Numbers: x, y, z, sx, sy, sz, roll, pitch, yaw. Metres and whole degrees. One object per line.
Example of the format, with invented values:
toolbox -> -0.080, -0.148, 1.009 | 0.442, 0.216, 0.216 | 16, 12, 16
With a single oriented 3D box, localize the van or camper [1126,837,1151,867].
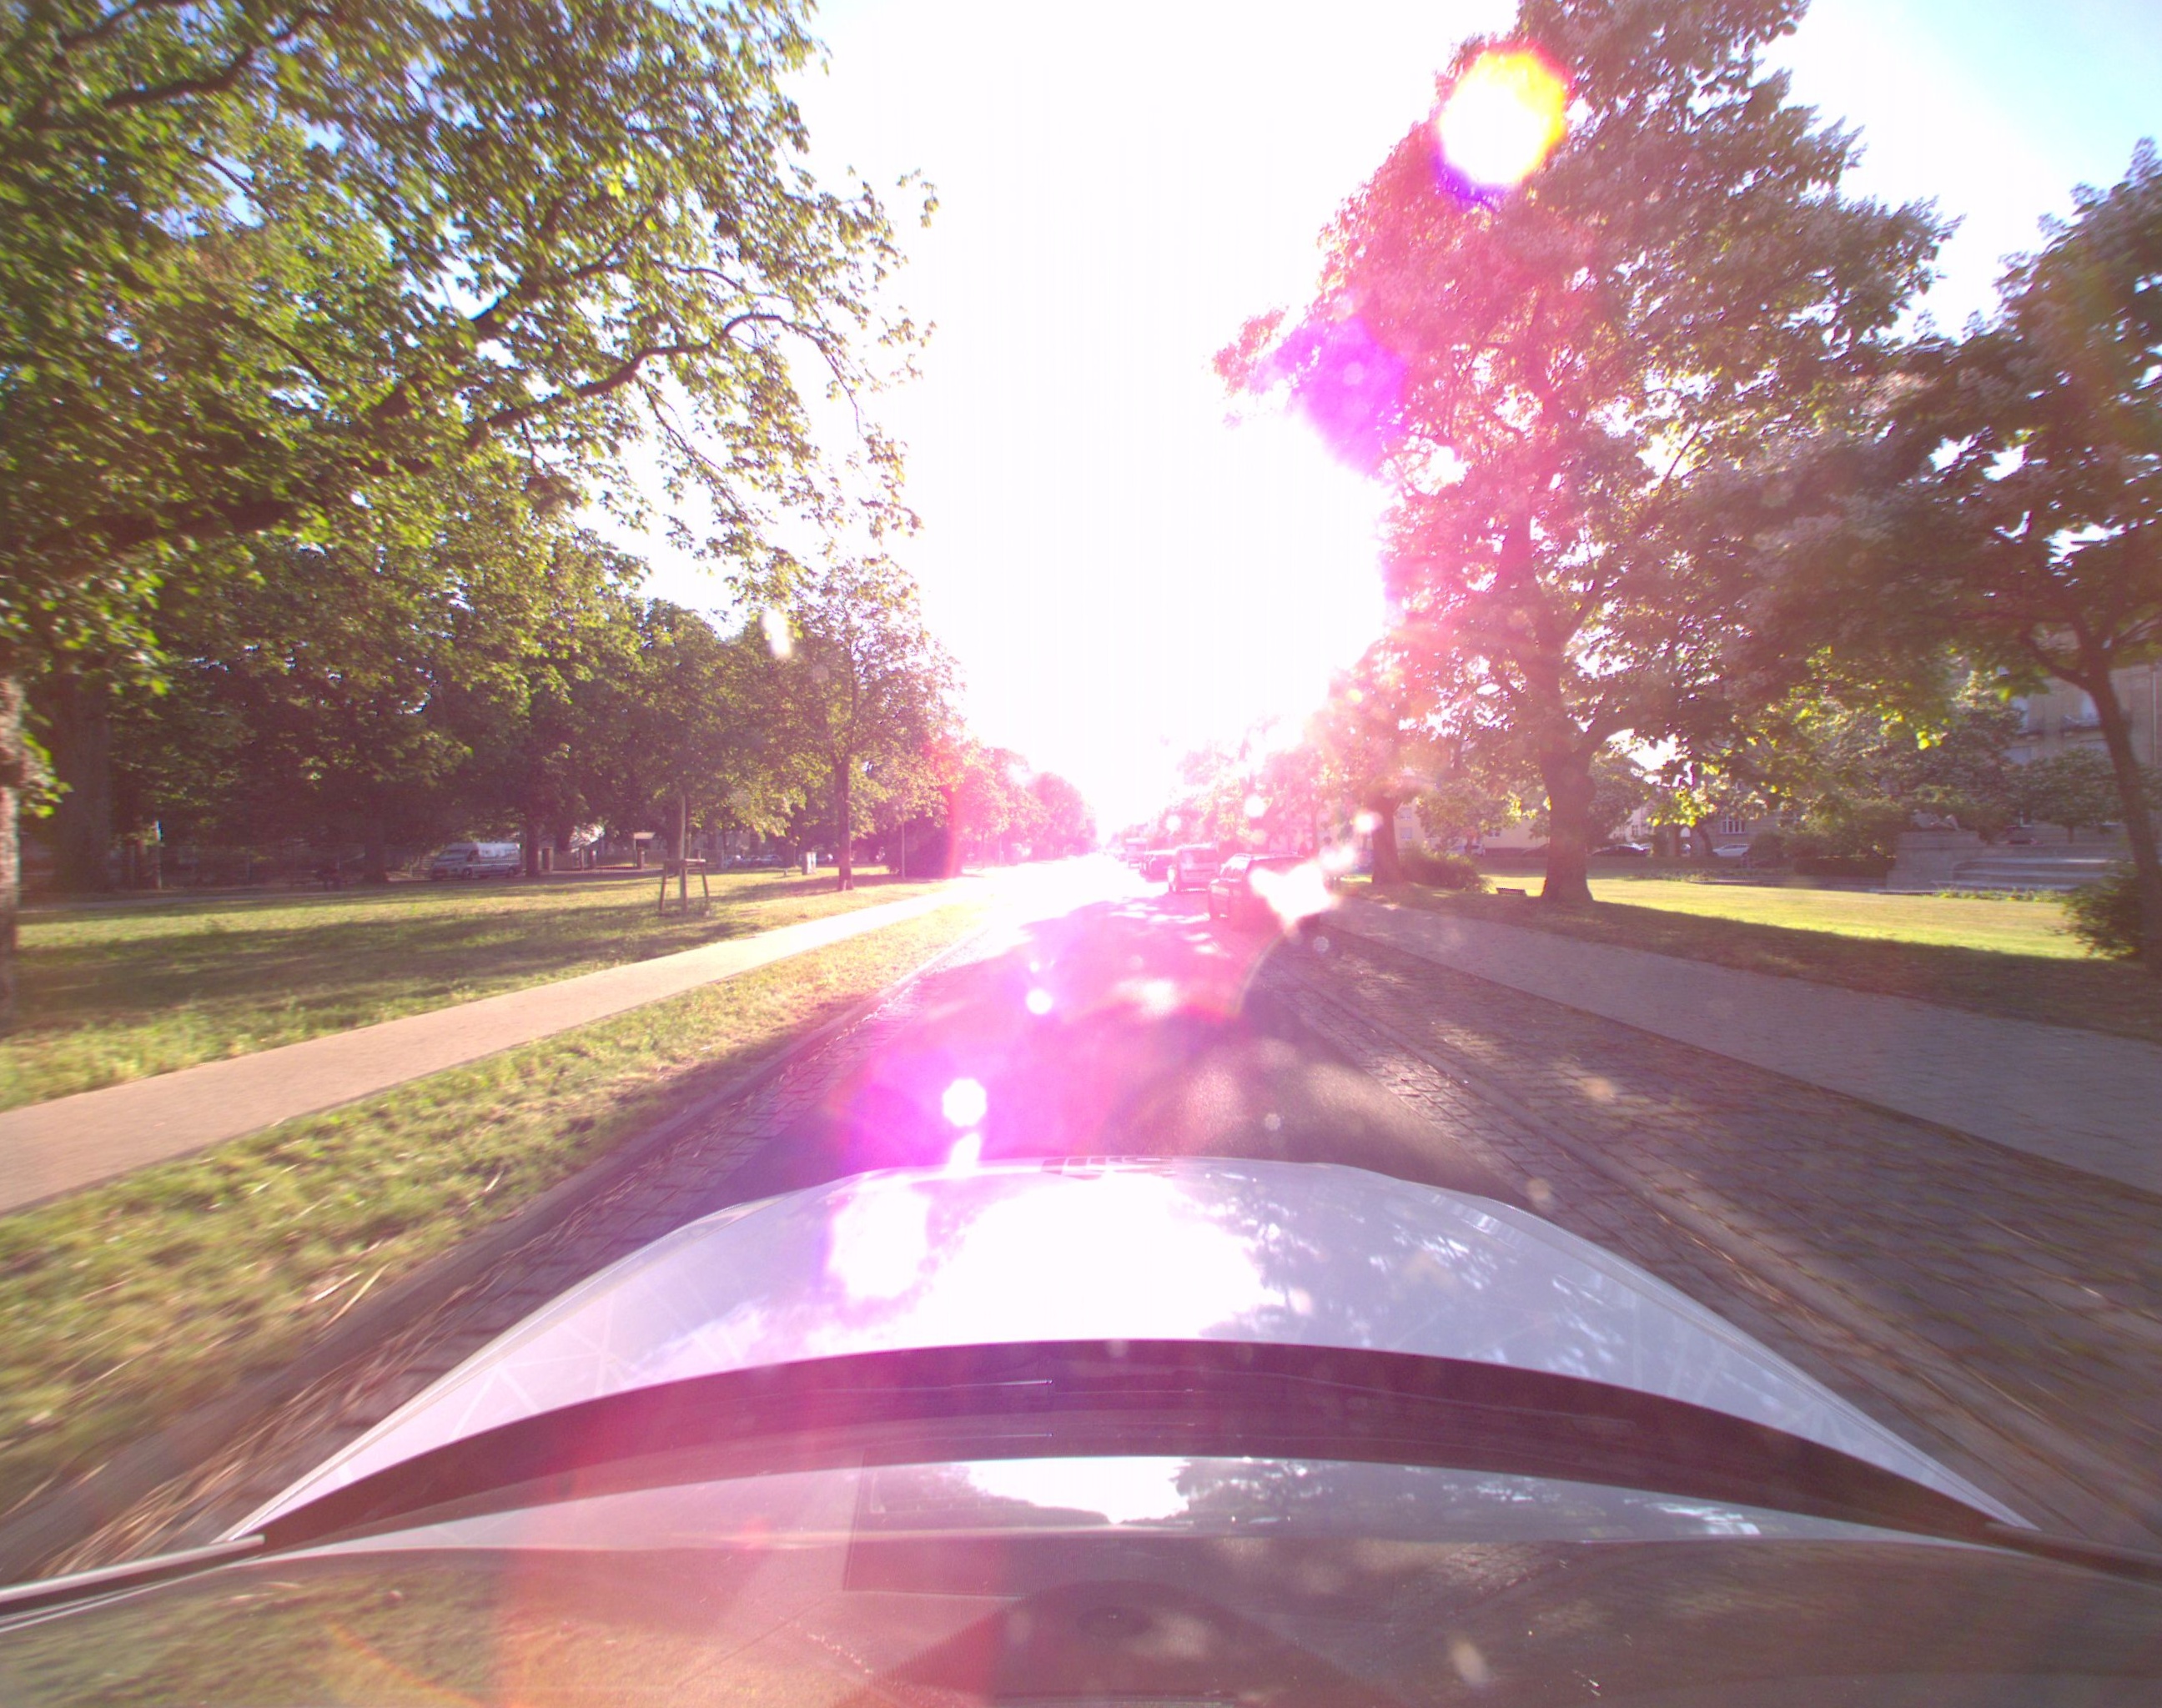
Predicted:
van or camper -> 5.893, -0.165, 84.236 | 2.226, 2.904, 5.674 | -1, -1, 1

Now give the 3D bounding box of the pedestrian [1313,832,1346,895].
pedestrian -> 6.894, 0.254, 22.655 | 0.722, 1.736, 0.732 | 0, 0, 2

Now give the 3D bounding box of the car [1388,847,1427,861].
car -> 37.247, 0.013, 92.907 | 3.949, 1.552, 1.620 | -1, -1, 29

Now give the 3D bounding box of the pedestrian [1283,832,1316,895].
pedestrian -> 6.075, 0.257, 22.648 | 0.750, 1.736, 0.732 | 0, 0, 2

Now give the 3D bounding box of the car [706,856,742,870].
car -> -39.394, 0.972, 89.926 | 1.986, 1.508, 4.002 | -1, 0, 2

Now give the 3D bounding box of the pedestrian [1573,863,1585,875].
pedestrian -> 35.298, 1.054, 57.704 | 0.671, 0.794, 0.580 | -1, -1, -41

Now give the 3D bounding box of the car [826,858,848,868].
car -> -38.259, 1.432, 127.779 | 1.986, 1.508, 4.118 | -1, 0, 2

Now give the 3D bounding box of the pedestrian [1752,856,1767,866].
pedestrian -> 51.777, 0.543, 62.155 | 0.585, 0.794, 0.665 | -1, -1, -10

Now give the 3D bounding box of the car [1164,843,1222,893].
car -> 4.235, 0.522, 31.252 | 1.672, 1.740, 4.515 | -1, 0, 1

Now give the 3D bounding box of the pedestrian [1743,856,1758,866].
pedestrian -> 51.685, 0.528, 62.889 | 0.585, 0.794, 0.665 | -1, -1, -10

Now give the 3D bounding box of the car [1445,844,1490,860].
car -> 45.140, -0.265, 95.073 | 4.467, 1.746, 1.892 | -1, -1, 36

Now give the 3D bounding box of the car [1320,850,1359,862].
car -> 30.572, 0.260, 96.274 | 4.158, 1.357, 1.702 | -1, 0, 22

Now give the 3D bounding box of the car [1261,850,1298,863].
car -> 23.953, 0.312, 98.303 | 4.162, 1.463, 1.700 | -1, 0, 17

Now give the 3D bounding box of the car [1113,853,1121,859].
car -> 7.937, 0.444, 179.127 | 1.620, 1.410, 4.250 | -1, 0, 1

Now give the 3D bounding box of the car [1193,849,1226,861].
car -> 16.692, 0.132, 105.902 | 4.174, 1.530, 2.003 | -1, 0, 5

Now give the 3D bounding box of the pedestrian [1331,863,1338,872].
pedestrian -> 23.458, 1.210, 75.333 | 0.470, 0.812, 0.612 | 0, 0, 3

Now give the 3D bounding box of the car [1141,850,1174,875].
car -> 4.911, 0.554, 52.923 | 1.726, 1.551, 4.422 | -1, 0, 0

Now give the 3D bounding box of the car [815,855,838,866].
car -> -38.020, 0.965, 121.779 | 1.986, 1.508, 4.118 | -1, 0, 2

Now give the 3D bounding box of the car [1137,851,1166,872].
car -> 5.089, 0.559, 59.507 | 1.622, 1.464, 4.246 | -1, 0, -2

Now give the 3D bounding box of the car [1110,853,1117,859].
car -> 9.031, 0.548, 226.990 | 1.620, 1.410, 4.250 | -1, 0, 1

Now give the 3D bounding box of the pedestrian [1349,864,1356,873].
pedestrian -> 25.143, 1.334, 75.433 | 0.470, 0.812, 0.612 | 0, 0, 3

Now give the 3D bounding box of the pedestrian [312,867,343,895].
pedestrian -> -27.023, 0.969, 29.200 | 0.544, 0.987, 0.612 | -1, -1, 12

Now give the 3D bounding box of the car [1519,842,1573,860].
car -> 48.349, -0.319, 84.700 | 1.891, 1.746, 4.470 | -1, -1, -45

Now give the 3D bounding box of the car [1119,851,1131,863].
car -> 6.792, 0.467, 125.520 | 1.620, 1.669, 4.250 | -1, 0, 1

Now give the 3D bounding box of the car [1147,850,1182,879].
car -> 4.760, 0.588, 46.670 | 1.725, 1.551, 4.278 | -1, 0, 3

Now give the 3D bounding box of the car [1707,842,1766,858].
car -> 62.406, -0.395, 77.615 | 1.886, 1.453, 3.962 | -1, 0, -29

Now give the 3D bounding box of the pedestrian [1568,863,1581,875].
pedestrian -> 34.638, 1.066, 57.141 | 0.671, 0.794, 0.580 | -1, -1, -41

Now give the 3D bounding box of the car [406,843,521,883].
car -> -40.657, 0.580, 53.922 | 2.711, 2.463, 6.318 | -1, 0, 0

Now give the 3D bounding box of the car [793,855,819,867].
car -> -37.988, 0.970, 112.578 | 1.986, 1.508, 4.118 | -1, 0, 2

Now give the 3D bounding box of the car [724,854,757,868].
car -> -39.610, 0.817, 94.743 | 1.986, 1.508, 4.002 | -1, 0, 2

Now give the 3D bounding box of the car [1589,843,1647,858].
car -> 52.952, -0.338, 80.352 | 1.889, 1.453, 4.319 | -1, 0, -36

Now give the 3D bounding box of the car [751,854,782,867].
car -> -38.932, 0.843, 100.887 | 1.986, 1.508, 4.118 | -1, 0, 2

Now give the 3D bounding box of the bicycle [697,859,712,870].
bicycle -> -41.167, 1.166, 89.042 | 0.655, 1.175, 2.332 | -1, 0, -1

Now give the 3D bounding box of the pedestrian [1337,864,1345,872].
pedestrian -> 24.406, 1.310, 76.436 | 0.608, 0.812, 0.724 | 0, 0, 3

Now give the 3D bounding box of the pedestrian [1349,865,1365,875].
pedestrian -> 25.186, 1.466, 74.312 | 0.577, 0.812, 1.244 | 0, 0, -43

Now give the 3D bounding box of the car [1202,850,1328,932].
car -> 3.754, 0.693, 17.431 | 1.672, 1.486, 4.811 | -1, 0, 1

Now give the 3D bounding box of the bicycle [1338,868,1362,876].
bicycle -> 24.118, 1.596, 73.000 | 1.749, 0.615, 1.823 | -1, 0, 26

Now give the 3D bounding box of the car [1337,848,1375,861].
car -> 34.279, 0.093, 101.459 | 4.473, 1.569, 1.890 | -1, 0, 20

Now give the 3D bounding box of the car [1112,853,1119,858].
car -> 8.787, 0.392, 209.589 | 1.620, 1.410, 4.250 | -1, 0, 1
